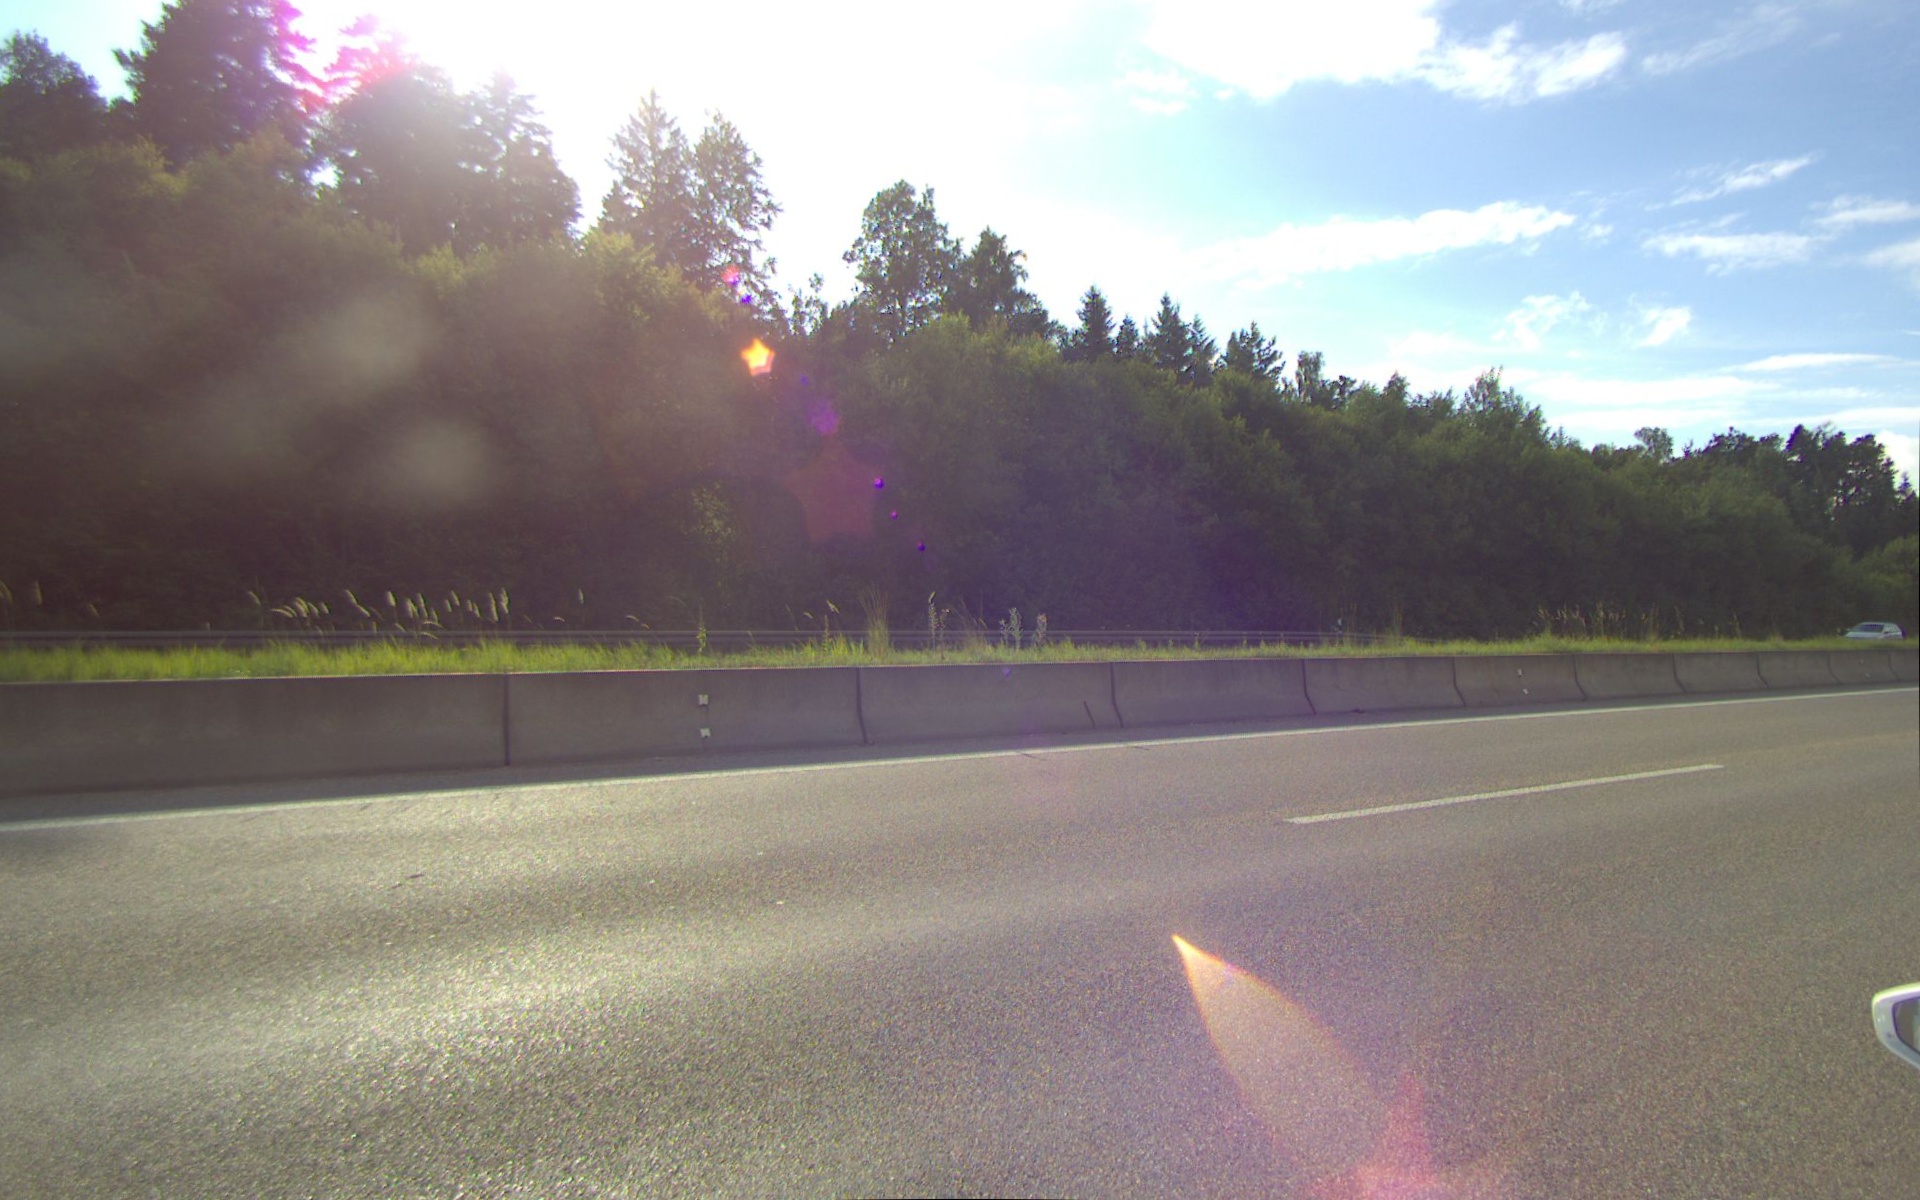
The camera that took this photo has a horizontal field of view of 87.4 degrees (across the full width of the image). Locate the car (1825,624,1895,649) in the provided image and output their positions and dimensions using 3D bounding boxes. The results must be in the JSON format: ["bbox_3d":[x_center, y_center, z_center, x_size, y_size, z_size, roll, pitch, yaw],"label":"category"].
[{"bbox_3d":[48.360,1.944,53.950,3.502,1.307,1.808,1,0,-30],"label":"car"}]
